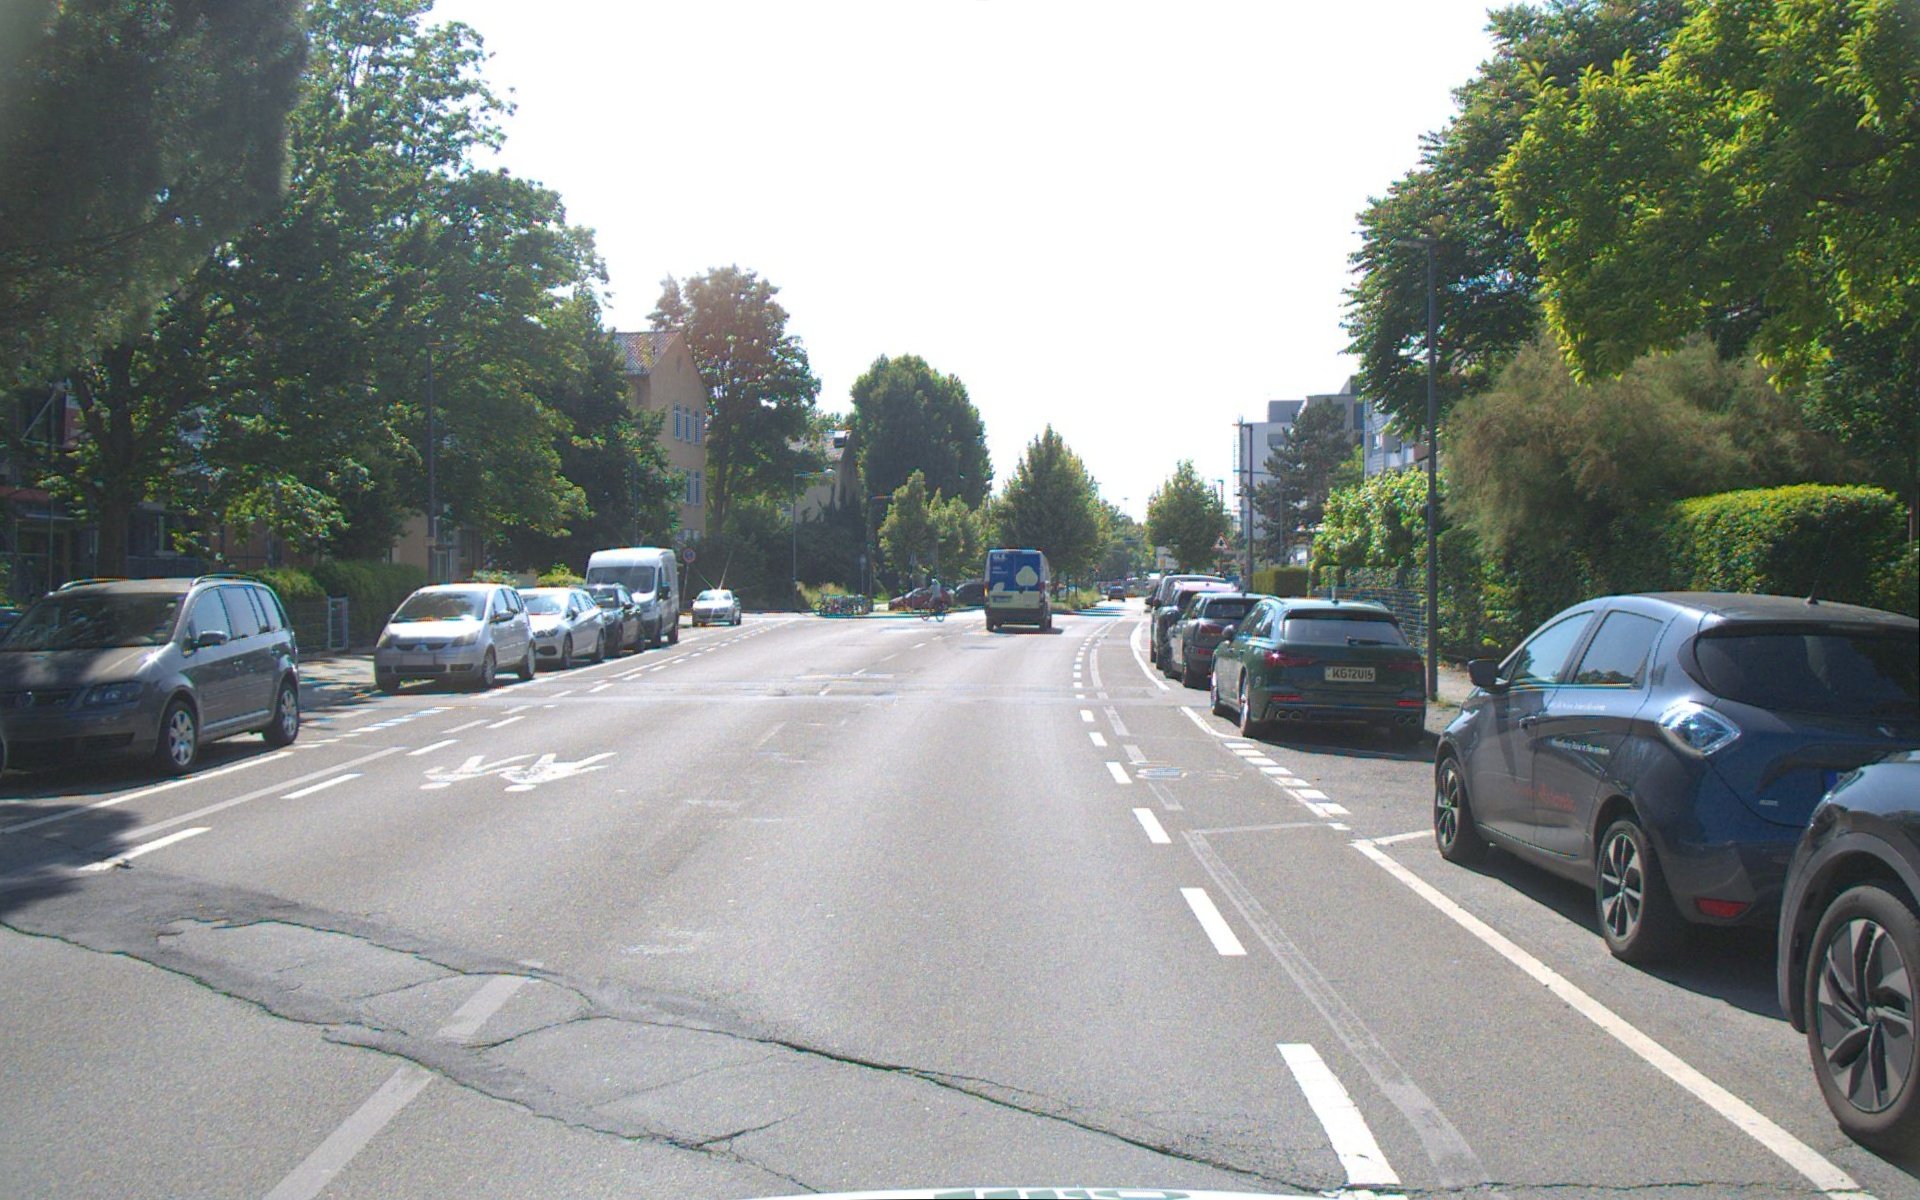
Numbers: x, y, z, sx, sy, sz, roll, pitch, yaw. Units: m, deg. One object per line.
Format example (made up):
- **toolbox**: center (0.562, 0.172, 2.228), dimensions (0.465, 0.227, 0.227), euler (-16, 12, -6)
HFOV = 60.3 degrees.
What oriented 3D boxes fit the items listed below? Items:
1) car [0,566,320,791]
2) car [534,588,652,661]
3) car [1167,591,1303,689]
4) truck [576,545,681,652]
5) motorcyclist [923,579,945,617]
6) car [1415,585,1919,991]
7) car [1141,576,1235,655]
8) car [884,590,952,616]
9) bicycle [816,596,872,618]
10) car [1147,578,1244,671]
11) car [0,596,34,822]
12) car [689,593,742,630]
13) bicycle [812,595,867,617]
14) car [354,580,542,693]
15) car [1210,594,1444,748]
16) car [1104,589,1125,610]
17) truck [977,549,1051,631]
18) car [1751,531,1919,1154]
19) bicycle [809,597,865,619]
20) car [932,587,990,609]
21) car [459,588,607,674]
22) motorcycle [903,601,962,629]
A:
- **car**: center (-7.368, 0.586, 14.798), dimensions (1.871, 1.706, 4.255), euler (-1, 1, -4)
- **car**: center (-8.118, 0.504, 36.840), dimensions (1.718, 1.522, 3.655), euler (-1, 1, 1)
- **car**: center (4.365, 0.610, 26.761), dimensions (1.747, 1.424, 4.124), euler (1, 0, 4)
- **truck**: center (-8.509, -0.075, 42.907), dimensions (2.040, 2.581, 5.461), euler (0, 1, -5)
- **motorcyclist**: center (-1.051, -0.065, 67.566), dimensions (0.665, 1.545, 0.646), euler (0, 0, -29)
- **car**: center (3.683, 0.727, 8.383), dimensions (1.674, 1.540, 3.902), euler (2, 1, 1)
- **car**: center (5.136, 0.316, 37.613), dimensions (1.665, 1.706, 3.775), euler (0, 0, 1)
- **car**: center (-2.567, 0.179, 100.124), dimensions (3.916, 1.516, 1.624), euler (0, 0, -11)
- **bicycle**: center (-5.607, 0.349, 79.842), dimensions (2.616, 1.044, 1.023), euler (0, 0, -11)
- **car**: center (4.543, 0.430, 32.275), dimensions (1.664, 1.706, 3.777), euler (0, 1, 5)
- **car**: center (-7.122, 0.757, 9.238), dimensions (1.745, 1.485, 4.083), euler (-1, 1, -3)
- **car**: center (-9.500, 0.410, 64.541), dimensions (1.719, 1.367, 3.651), euler (0, 1, -4)
- **bicycle**: center (-5.966, 0.277, 82.051), dimensions (2.639, 1.066, 1.023), euler (0, 0, -11)
- **car**: center (-7.879, 0.533, 25.810), dimensions (1.797, 1.623, 3.774), euler (0, 0, -1)
- **car**: center (3.886, 0.680, 18.204), dimensions (1.747, 1.424, 4.325), euler (2, 0, 3)
- **car**: center (15.575, -0.074, 167.048), dimensions (1.868, 2.049, 4.002), euler (0, 0, 3)
- **truck**: center (1.866, -0.330, 55.435), dimensions (2.224, 2.616, 4.395), euler (0, 0, 5)
- **car**: center (3.439, 0.684, 3.152), dimensions (1.748, 1.666, 4.471), euler (2, 0, 1)
- **bicycle**: center (-6.015, 0.372, 80.921), dimensions (2.639, 1.066, 1.023), euler (0, 0, -11)
- **car**: center (0.061, -0.113, 116.720), dimensions (3.916, 1.516, 1.624), euler (0, 0, -11)
- **car**: center (-8.082, 0.539, 31.637), dimensions (1.797, 1.522, 3.655), euler (0, 1, 1)
- **motorcycle**: center (-1.135, 0.599, 67.805), dimensions (1.046, 1.142, 2.959), euler (0, 0, -32)
